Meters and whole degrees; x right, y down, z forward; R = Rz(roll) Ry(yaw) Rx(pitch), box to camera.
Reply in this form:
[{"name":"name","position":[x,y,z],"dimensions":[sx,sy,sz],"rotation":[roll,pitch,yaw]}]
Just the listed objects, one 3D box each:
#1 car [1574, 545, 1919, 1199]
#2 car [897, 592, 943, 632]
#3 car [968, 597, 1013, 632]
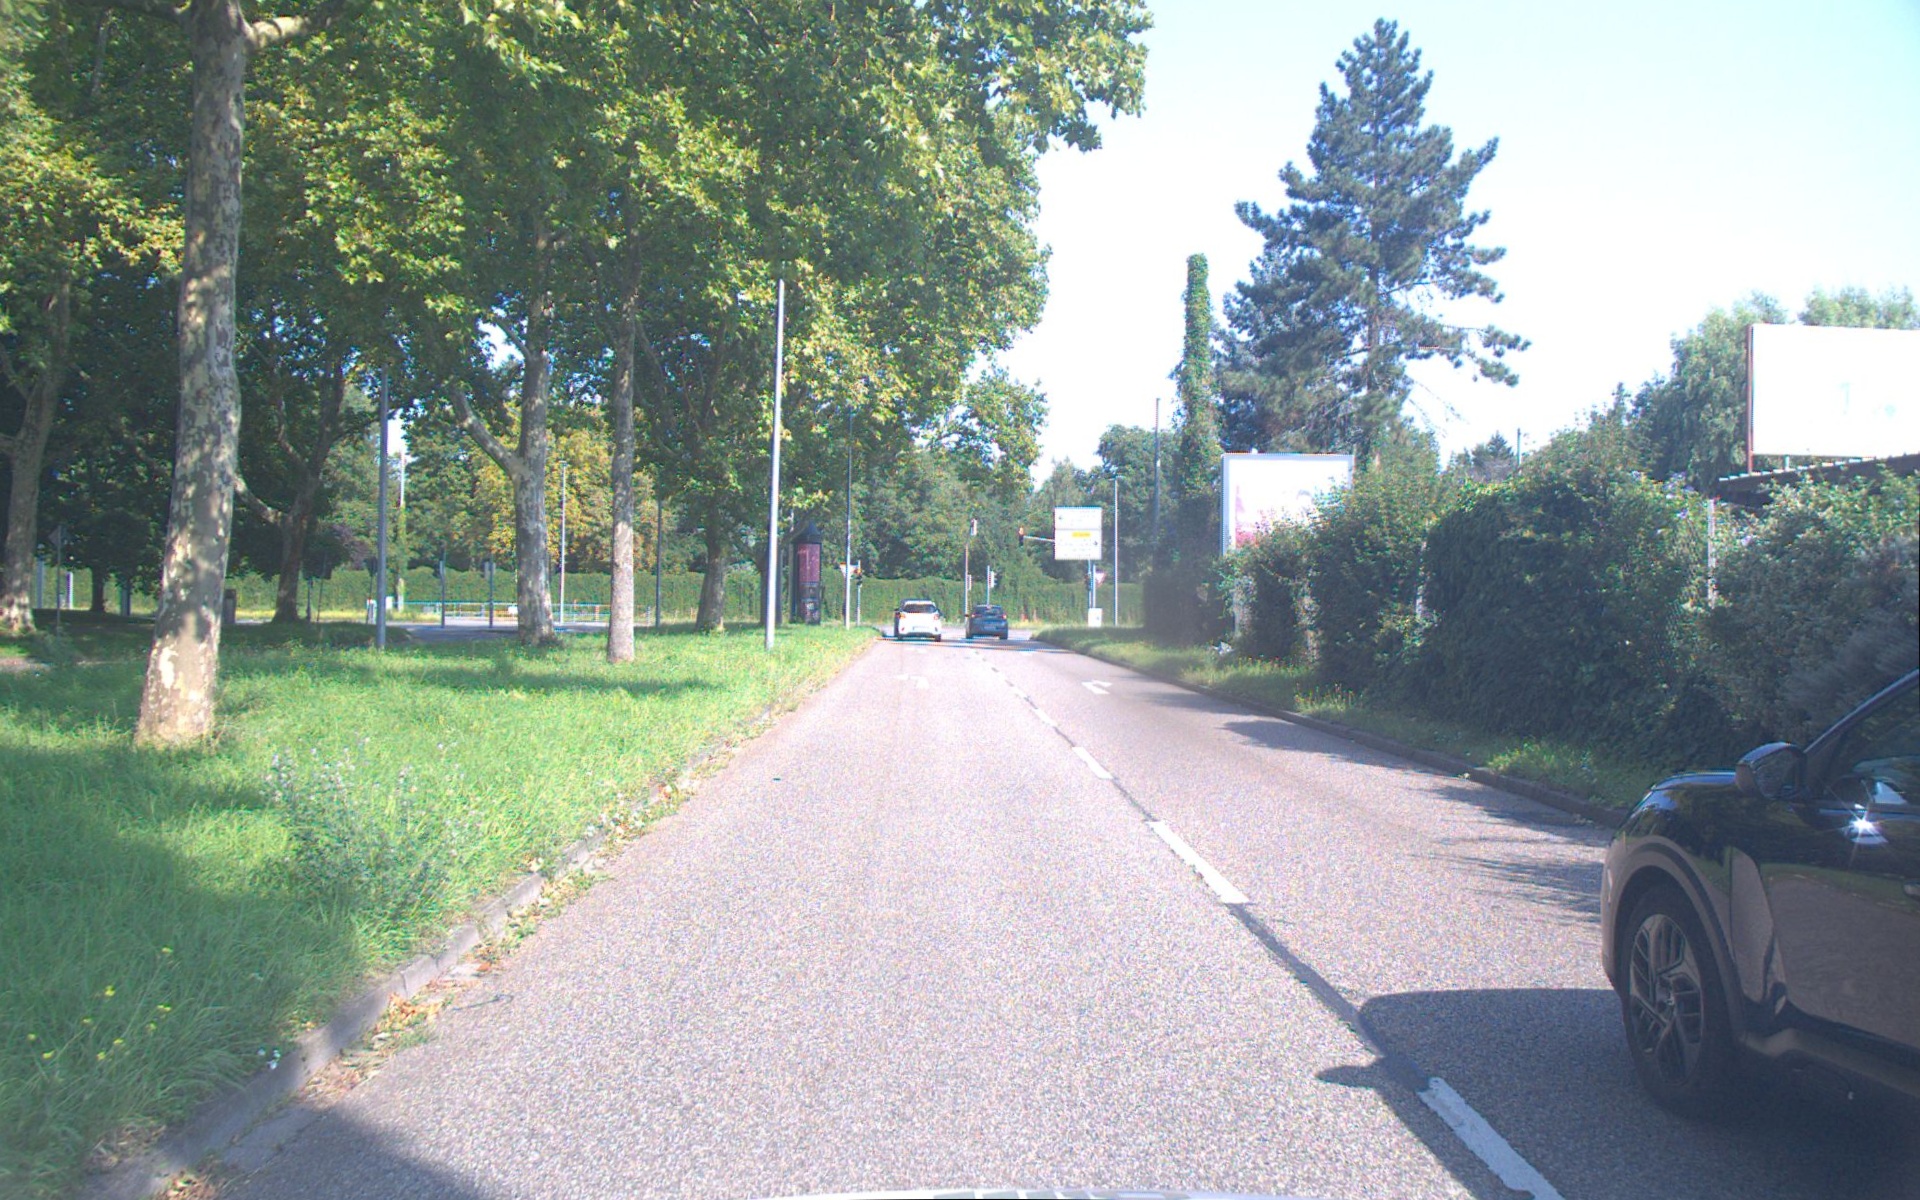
[{"name":"car","position":[2.974,0.683,3.648],"dimensions":[1.612,1.616,4.254],"rotation":[0,0,-1]},{"name":"car","position":[-1.504,0.440,63.728],"dimensions":[1.653,1.487,4.000],"rotation":[1,0,0]},{"name":"car","position":[1.305,0.621,72.524],"dimensions":[1.761,1.425,3.999],"rotation":[1,0,-2]}]
